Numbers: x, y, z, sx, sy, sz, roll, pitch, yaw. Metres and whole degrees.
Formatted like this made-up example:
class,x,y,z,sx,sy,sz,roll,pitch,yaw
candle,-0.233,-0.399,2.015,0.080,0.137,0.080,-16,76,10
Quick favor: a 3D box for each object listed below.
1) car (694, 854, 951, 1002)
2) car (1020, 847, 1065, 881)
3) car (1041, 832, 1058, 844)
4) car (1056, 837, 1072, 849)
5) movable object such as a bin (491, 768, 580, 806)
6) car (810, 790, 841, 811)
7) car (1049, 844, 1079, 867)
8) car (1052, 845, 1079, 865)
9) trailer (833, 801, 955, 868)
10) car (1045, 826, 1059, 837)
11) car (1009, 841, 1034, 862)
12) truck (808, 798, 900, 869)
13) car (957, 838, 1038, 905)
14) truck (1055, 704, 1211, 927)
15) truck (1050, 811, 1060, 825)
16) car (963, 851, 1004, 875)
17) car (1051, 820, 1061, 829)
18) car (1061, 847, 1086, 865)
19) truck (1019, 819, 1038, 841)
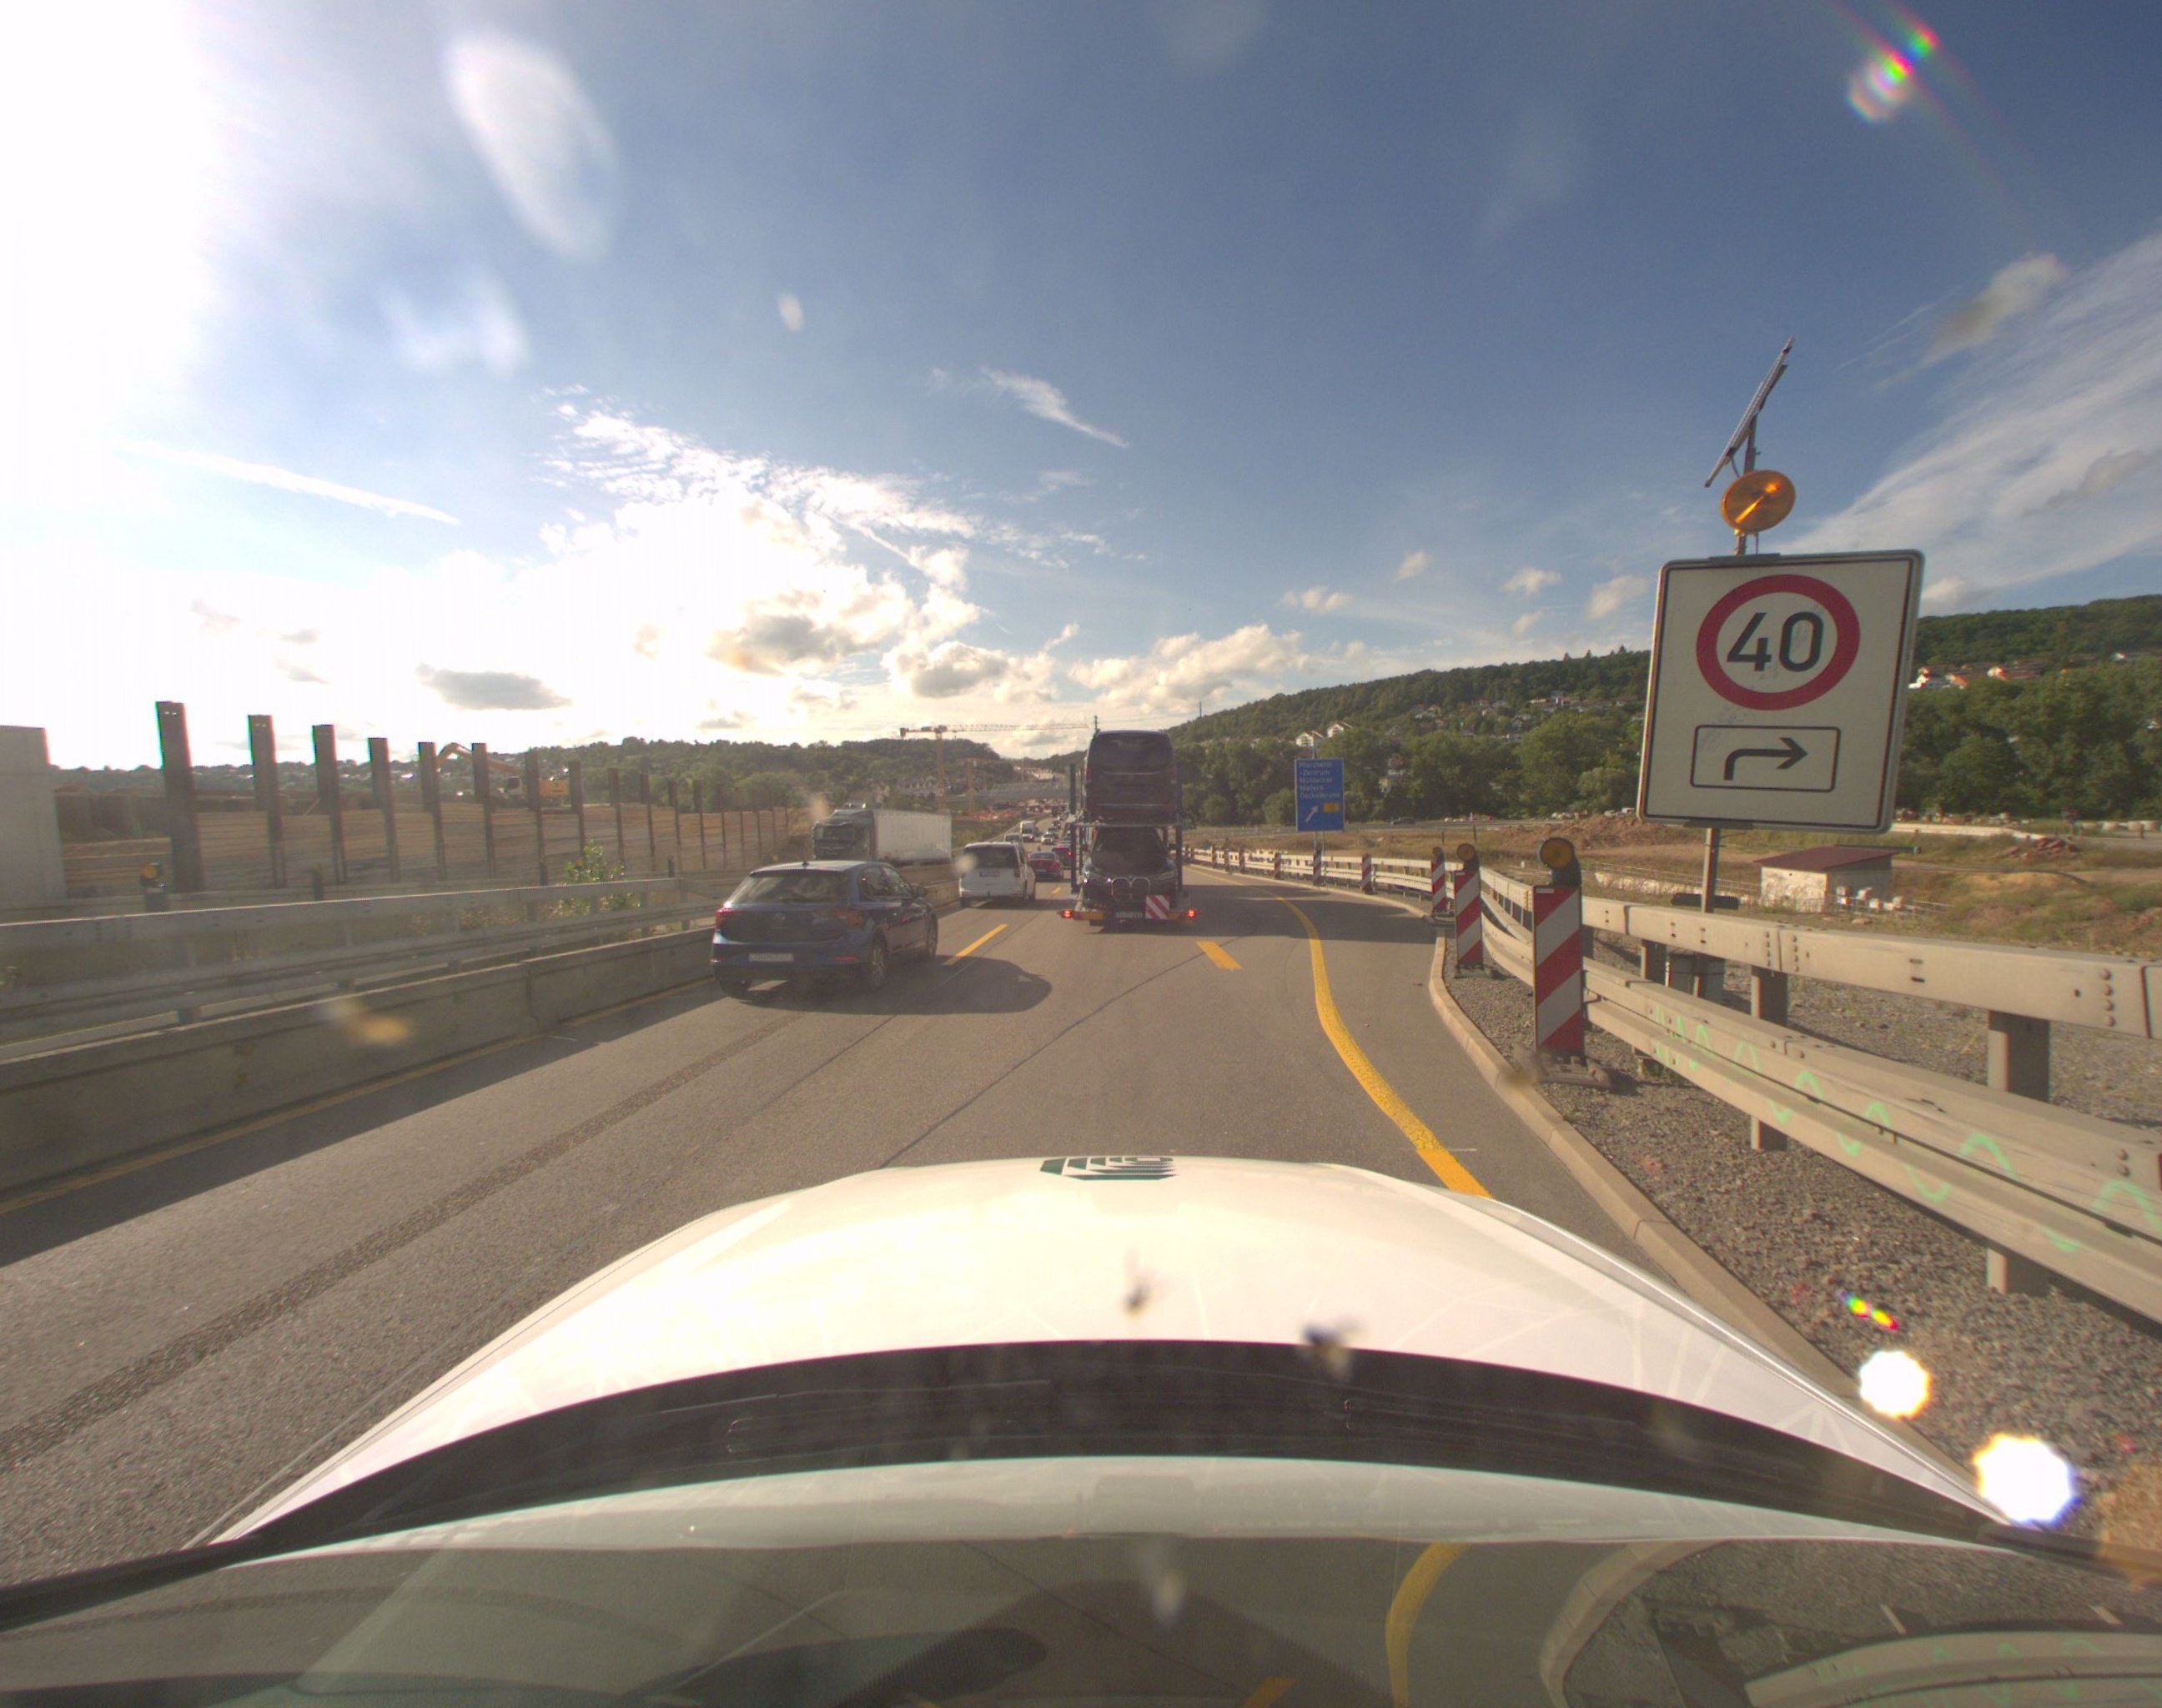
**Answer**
class,x,y,z,sx,sy,sz,roll,pitch,yaw
car,-2.904,0.755,10.125,1.715,1.422,4.003,-2,-1,3
car,-1.864,0.483,40.672,1.987,1.556,4.400,0,0,0
car,-4.645,-2.414,121.209,2.118,1.673,4.275,-2,3,1
car,-2.251,-1.468,108.083,1.986,1.552,4.002,0,0,2
movable object such as a bin,-53.345,-6.509,79.758,5.708,3.270,4.525,-1,0,12
car,-32.223,-6.758,102.906,1.987,2.140,5.321,-6,0,0
car,-1.240,0.084,57.487,1.989,1.552,3.995,0,0,-4
car,-1.219,0.085,65.420,1.986,1.552,4.002,0,0,2
trailer,-11.841,-1.101,53.671,2.804,3.841,13.838,-1,0,9
car,-4.977,-3.836,139.906,2.118,1.765,5.034,0,3,1
car,-7.155,-0.308,98.723,2.249,2.402,5.871,0,0,3
truck,-12.942,-1.095,46.922,2.760,3.788,6.034,-1,0,10
car,-2.362,0.475,23.891,1.816,1.792,4.002,0,0,2
truck,1.251,-0.640,23.980,2.743,3.954,18.897,1,0,2
truck,-8.236,-11.297,254.945,2.909,4.386,6.277,0,1,-4
car,-7.221,0.656,60.579,1.982,1.726,4.132,0,0,8
car,-5.341,-6.315,174.499,1.846,1.635,4.752,-2,3,1
car,-0.636,0.158,72.552,1.986,1.552,4.002,0,0,2
truck,-8.397,-3.798,131.707,2.693,3.311,7.533,0,0,-1
